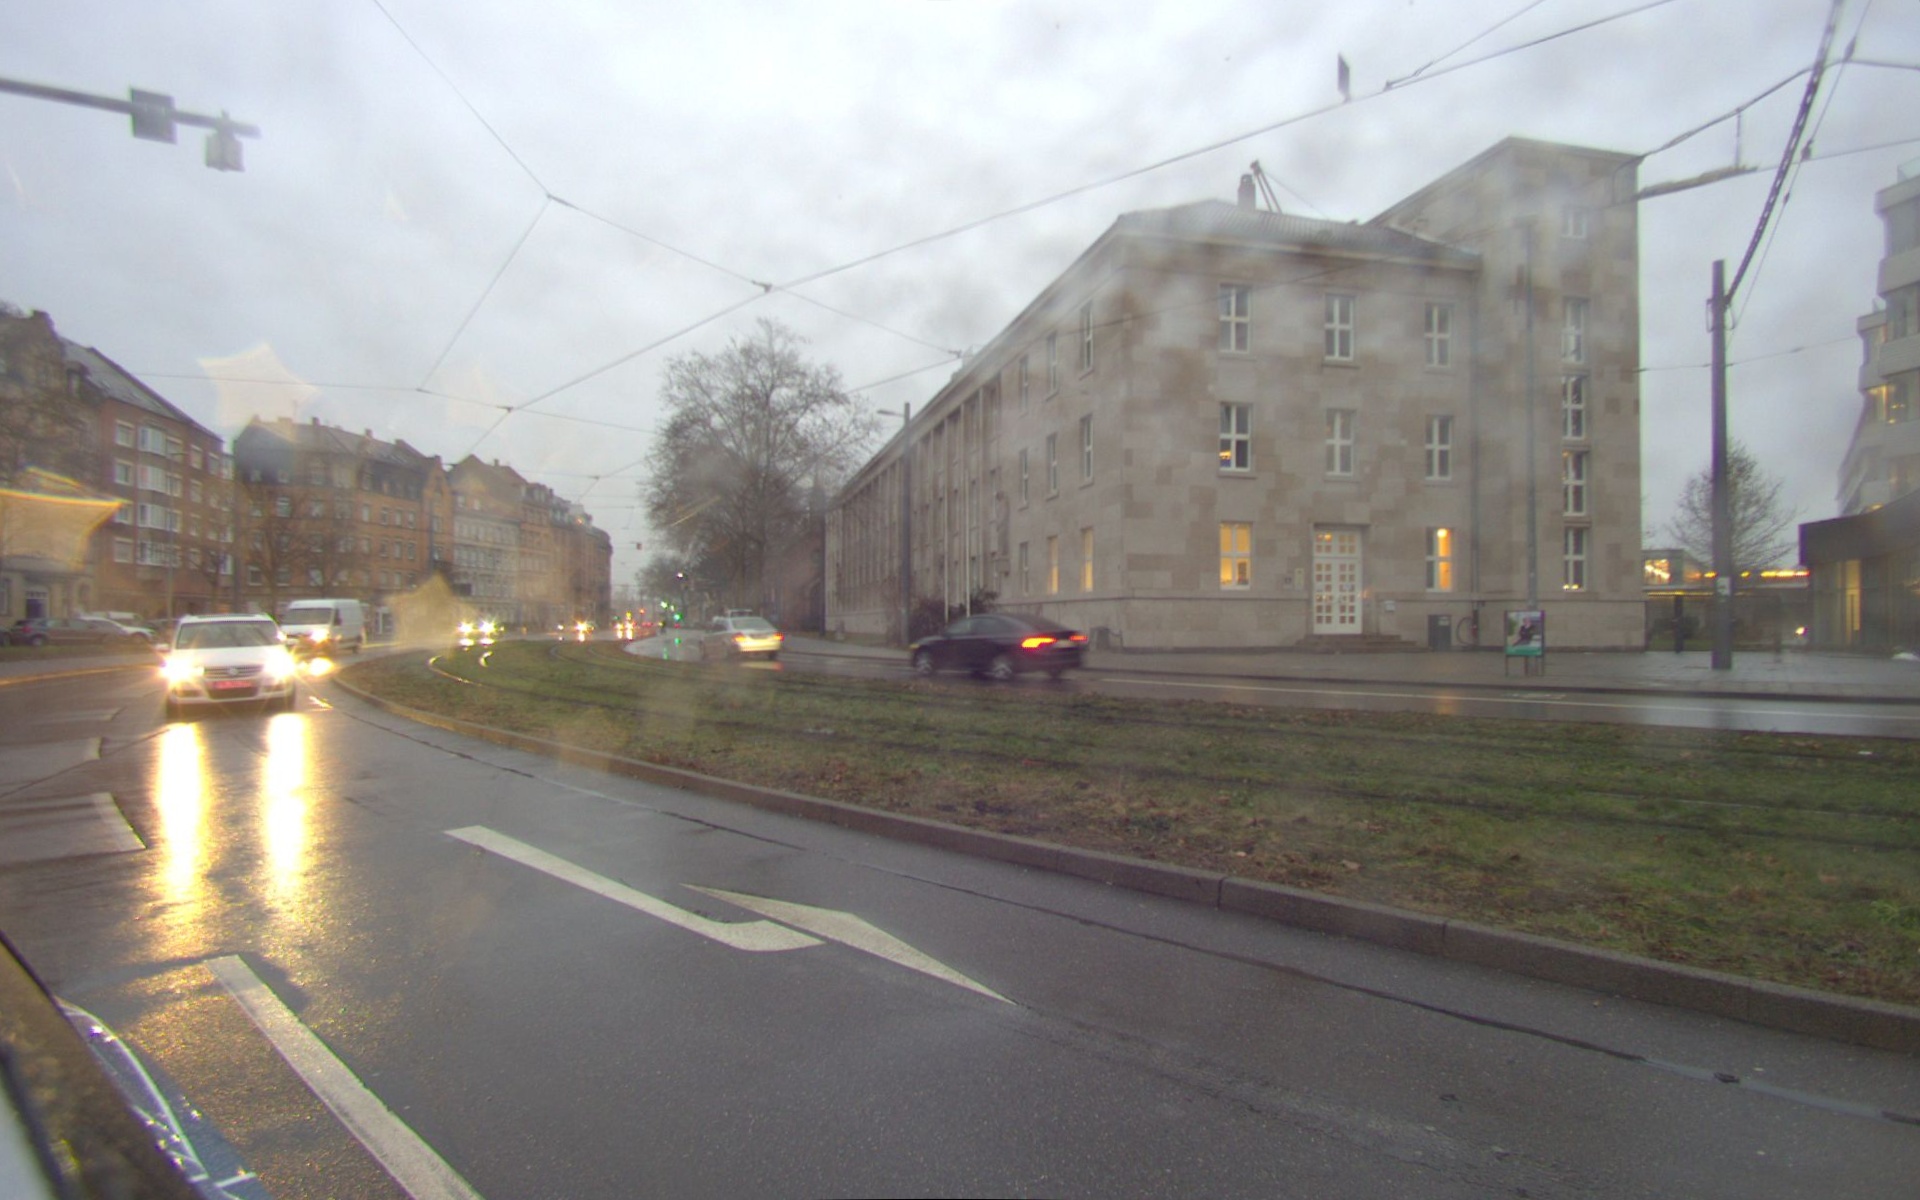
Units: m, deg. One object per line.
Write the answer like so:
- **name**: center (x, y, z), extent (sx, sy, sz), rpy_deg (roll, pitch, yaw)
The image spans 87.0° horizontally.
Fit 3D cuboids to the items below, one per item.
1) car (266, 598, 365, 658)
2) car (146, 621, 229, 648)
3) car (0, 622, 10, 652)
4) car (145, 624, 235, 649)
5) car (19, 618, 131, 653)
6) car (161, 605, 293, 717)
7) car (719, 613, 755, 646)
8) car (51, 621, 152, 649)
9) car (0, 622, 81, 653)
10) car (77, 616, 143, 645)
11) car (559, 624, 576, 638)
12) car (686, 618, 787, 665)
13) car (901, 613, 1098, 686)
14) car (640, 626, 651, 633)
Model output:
- **car**: center (-28.223, 1.188, 44.562), extent (2.095, 2.398, 5.654), rpy_deg (-2, 0, -16)
- **car**: center (-44.104, 1.973, 57.798), extent (3.706, 1.364, 1.605), rpy_deg (-2, 0, -39)
- **car**: center (-50.760, 1.909, 51.665), extent (1.449, 1.555, 3.881), rpy_deg (0, -2, -12)
- **car**: center (-41.681, 1.970, 54.843), extent (3.711, 1.288, 1.602), rpy_deg (1, -2, -45)
- **car**: center (-40.854, 1.609, 46.768), extent (3.816, 1.416, 1.696), rpy_deg (-2, 0, -43)
- **car**: center (-12.770, 0.981, 17.700), extent (1.648, 1.672, 4.158), rpy_deg (-2, 0, -36)
- **car**: center (-14.654, 1.892, 66.373), extent (1.966, 2.029, 4.522), rpy_deg (-2, 0, -15)
- **car**: center (-41.857, 1.694, 49.447), extent (3.706, 1.342, 1.605), rpy_deg (1, -1, -39)
- **car**: center (-52.575, 2.109, 57.922), extent (1.666, 1.554, 4.010), rpy_deg (-2, 0, -12)
- **car**: center (-53.434, 1.897, 63.674), extent (1.648, 1.716, 3.473), rpy_deg (-2, 0, -10)
- **car**: center (-47.052, 3.699, 121.308), extent (1.694, 1.630, 3.950), rpy_deg (0, -2, -17)
- **car**: center (-7.745, 1.380, 34.746), extent (1.796, 1.446, 4.668), rpy_deg (-2, 0, -33)
- **car**: center (0.784, 1.057, 22.592), extent (1.637, 1.411, 4.527), rpy_deg (-2, 0, -43)
- **car**: center (-78.172, 7.361, 251.651), extent (1.923, 1.829, 4.006), rpy_deg (0, -1, -7)
